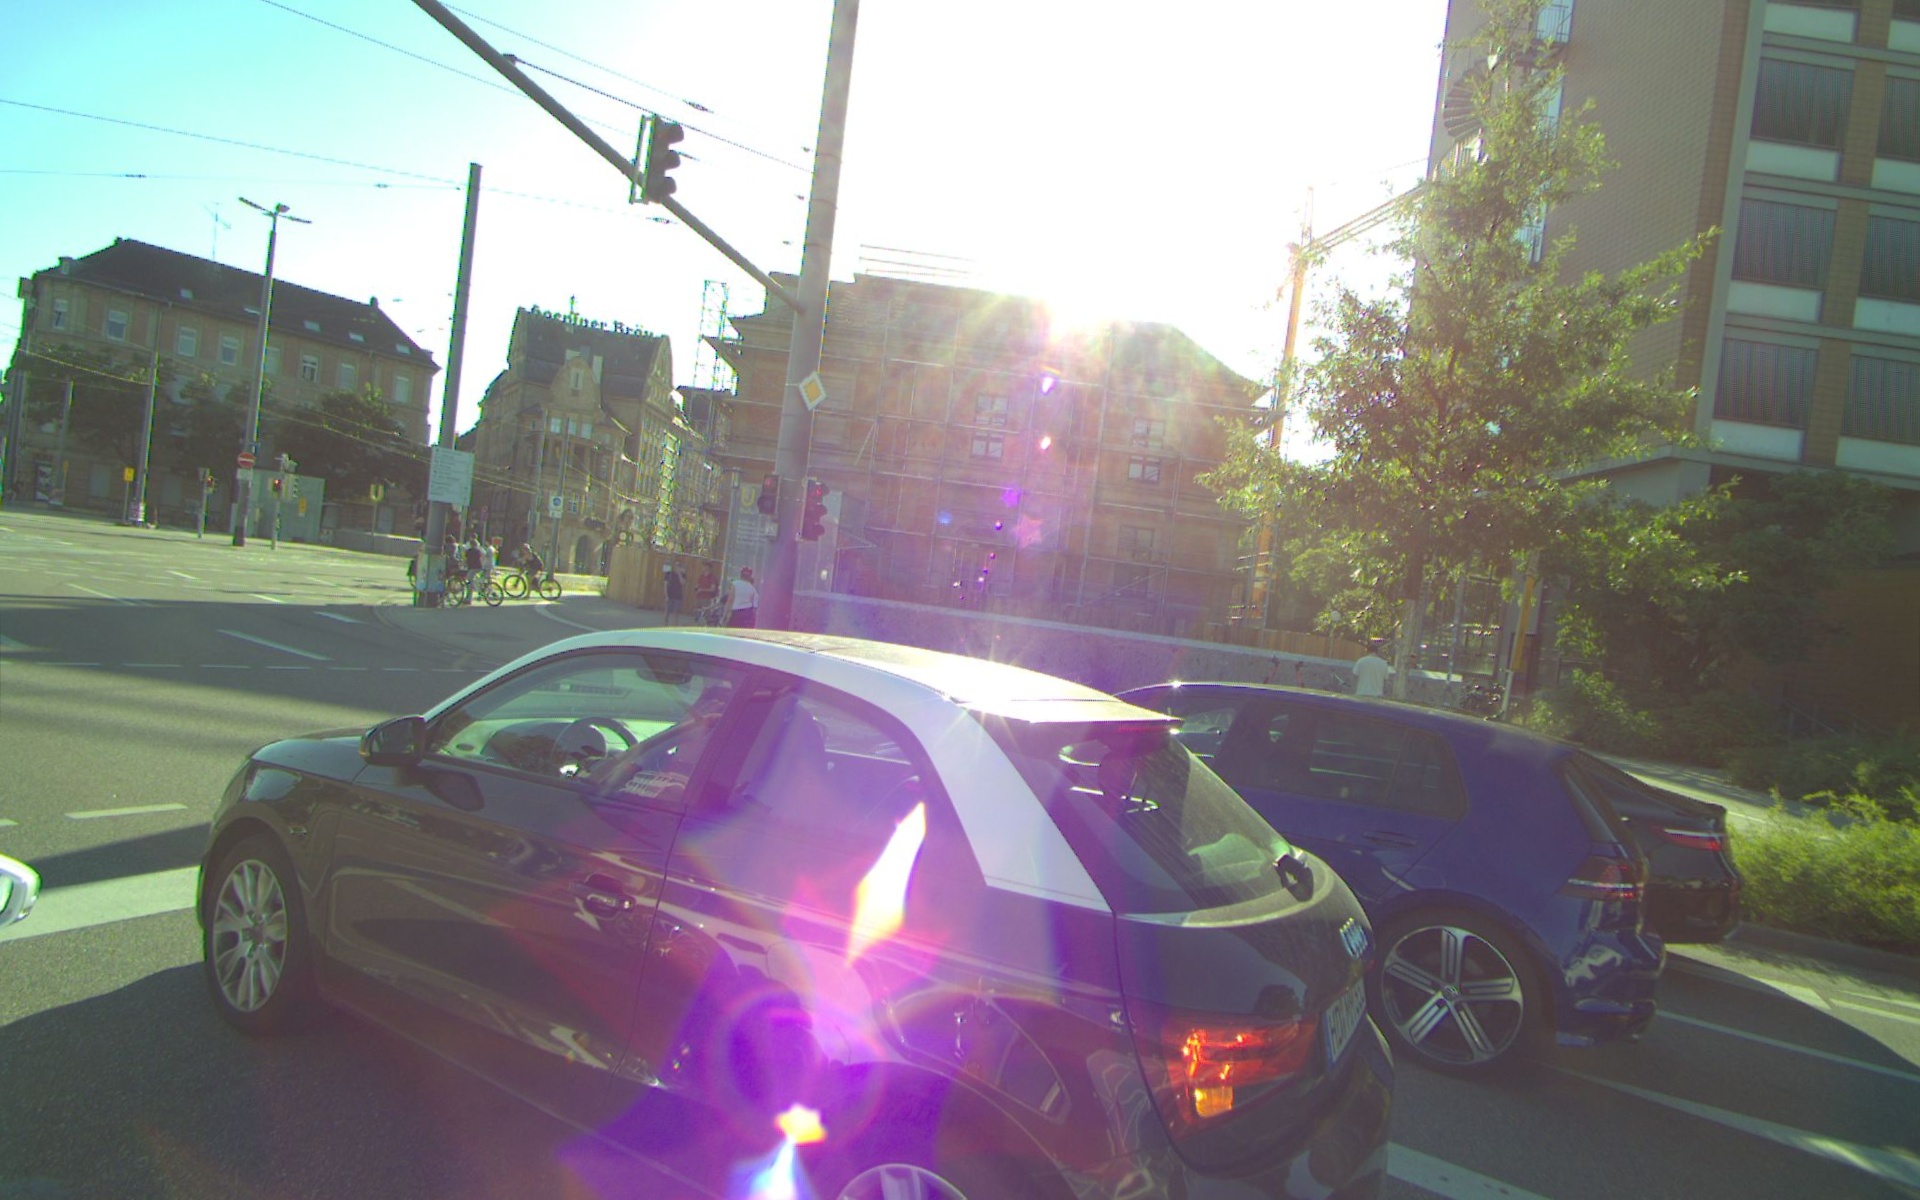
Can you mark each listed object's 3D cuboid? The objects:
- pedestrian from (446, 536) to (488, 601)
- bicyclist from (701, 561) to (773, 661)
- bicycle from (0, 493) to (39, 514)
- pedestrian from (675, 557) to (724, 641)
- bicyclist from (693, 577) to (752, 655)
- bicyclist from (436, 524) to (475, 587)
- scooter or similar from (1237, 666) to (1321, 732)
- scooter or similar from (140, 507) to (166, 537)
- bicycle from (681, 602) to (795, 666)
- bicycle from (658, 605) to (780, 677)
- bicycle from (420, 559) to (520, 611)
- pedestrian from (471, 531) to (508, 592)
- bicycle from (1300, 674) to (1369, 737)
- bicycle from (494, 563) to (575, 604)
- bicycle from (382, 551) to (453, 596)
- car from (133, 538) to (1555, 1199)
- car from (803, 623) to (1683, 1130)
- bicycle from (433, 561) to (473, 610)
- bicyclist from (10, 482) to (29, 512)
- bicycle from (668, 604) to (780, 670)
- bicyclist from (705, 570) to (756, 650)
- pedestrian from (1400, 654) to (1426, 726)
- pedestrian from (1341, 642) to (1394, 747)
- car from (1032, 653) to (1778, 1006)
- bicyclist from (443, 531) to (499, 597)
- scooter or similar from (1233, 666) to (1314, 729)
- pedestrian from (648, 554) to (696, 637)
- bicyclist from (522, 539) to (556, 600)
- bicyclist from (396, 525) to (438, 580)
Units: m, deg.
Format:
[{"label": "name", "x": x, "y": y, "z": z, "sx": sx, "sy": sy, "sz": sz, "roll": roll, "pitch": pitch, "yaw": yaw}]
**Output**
[{"label": "pedestrian", "x": -16.436, "y": -1.053, "z": 33.524, "sx": 0.748, "sy": 2.037, "sz": 0.733, "roll": 7, "pitch": -1, "yaw": 25}, {"label": "bicyclist", "x": -3.807, "y": 0.193, "z": 17.180, "sx": 0.781, "sy": 1.571, "sz": 0.668, "roll": 7, "pitch": -1, "yaw": 27}, {"label": "bicycle", "x": -56.821, "y": -5.800, "z": 60.708, "sx": 1.580, "sy": 0.963, "sz": 0.655, "roll": 8, "pitch": -2, "yaw": -25}, {"label": "pedestrian", "x": -5.992, "y": -0.020, "z": 23.162, "sx": 0.672, "sy": 1.828, "sz": 0.672, "roll": 7, "pitch": -1, "yaw": 11}, {"label": "bicyclist", "x": -4.388, "y": 0.297, "z": 18.609, "sx": 0.662, "sy": 1.330, "sz": 0.617, "roll": 7, "pitch": -1, "yaw": 27}, {"label": "bicyclist", "x": -12.654, "y": -1.095, "z": 25.231, "sx": 0.702, "sy": 1.456, "sz": 0.941, "roll": 8, "pitch": -1, "yaw": -28}, {"label": "scooter or similar", "x": 5.911, "y": 1.829, "z": 18.677, "sx": 1.348, "sy": 1.007, "sz": 0.342, "roll": 7, "pitch": -1, "yaw": 25}, {"label": "scooter or similar", "x": -42.088, "y": -4.073, "z": 52.440, "sx": 0.784, "sy": 1.392, "sz": 1.885, "roll": 8, "pitch": -2, "yaw": -44}, {"label": "bicycle", "x": -4.358, "y": 0.660, "z": 19.789, "sx": 1.997, "sy": 0.976, "sz": 0.660, "roll": 7, "pitch": 2, "yaw": 5}, {"label": "bicycle", "x": -4.160, "y": 0.692, "z": 17.308, "sx": 1.999, "sy": 0.974, "sz": 0.660, "roll": 6, "pitch": -1, "yaw": 27}, {"label": "bicycle", "x": -12.894, "y": -0.391, "z": 26.488, "sx": 2.276, "sy": 1.061, "sz": 0.702, "roll": 7, "pitch": -1, "yaw": 8}, {"label": "pedestrian", "x": -16.022, "y": -1.318, "z": 34.287, "sx": 0.678, "sy": 1.945, "sz": 0.649, "roll": 7, "pitch": -1, "yaw": 25}, {"label": "bicycle", "x": 6.989, "y": 1.962, "z": 18.806, "sx": 0.352, "sy": 1.015, "sz": 1.149, "roll": 8, "pitch": -2, "yaw": -29}, {"label": "bicycle", "x": -13.388, "y": -0.513, "z": 31.702, "sx": 2.289, "sy": 1.063, "sz": 0.532, "roll": 5, "pitch": 2, "yaw": -25}, {"label": "bicycle", "x": -16.813, "y": -0.824, "z": 31.189, "sx": 2.278, "sy": 1.061, "sz": 0.536, "roll": 8, "pitch": -1, "yaw": 24}, {"label": "car", "x": -0.582, "y": 0.761, "z": 3.004, "sx": 3.934, "sy": 1.420, "sz": 1.627, "roll": 6, "pitch": -2, "yaw": 32}, {"label": "car", "x": 1.273, "y": 1.099, "z": 5.353, "sx": 3.934, "sy": 1.420, "sz": 1.627, "roll": 6, "pitch": -2, "yaw": 32}, {"label": "bicycle", "x": -12.702, "y": -0.384, "z": 25.153, "sx": 0.693, "sy": 1.061, "sz": 2.303, "roll": 9, "pitch": -1, "yaw": -29}, {"label": "bicyclist", "x": -56.773, "y": -6.212, "z": 60.716, "sx": 0.509, "sy": 1.720, "sz": 0.517, "roll": 7, "pitch": -1, "yaw": -25}, {"label": "bicycle", "x": -4.373, "y": 0.676, "z": 18.585, "sx": 1.999, "sy": 0.976, "sz": 0.659, "roll": 6, "pitch": 2, "yaw": 27}, {"label": "bicyclist", "x": -4.515, "y": 0.212, "z": 19.800, "sx": 0.661, "sy": 1.471, "sz": 0.618, "roll": 7, "pitch": -1, "yaw": 3}, {"label": "pedestrian", "x": 11.338, "y": 2.247, "z": 25.185, "sx": 0.369, "sy": 1.752, "sz": 0.444, "roll": 7, "pitch": -1, "yaw": 17}, {"label": "pedestrian", "x": 6.863, "y": 1.569, "z": 16.936, "sx": 0.592, "sy": 1.662, "sz": 0.677, "roll": 7, "pitch": 3, "yaw": 29}, {"label": "car", "x": 2.965, "y": 1.405, "z": 7.421, "sx": 4.436, "sy": 1.420, "sz": 1.727, "roll": 6, "pitch": -2, "yaw": 31}, {"label": "bicyclist", "x": -12.869, "y": -0.933, "z": 26.483, "sx": 0.929, "sy": 1.575, "sz": 0.711, "roll": 7, "pitch": -1, "yaw": 8}, {"label": "scooter or similar", "x": 6.030, "y": 1.868, "z": 19.391, "sx": 1.346, "sy": 1.007, "sz": 0.343, "roll": 7, "pitch": -1, "yaw": 13}, {"label": "pedestrian", "x": -6.667, "y": -0.103, "z": 23.318, "sx": 0.672, "sy": 1.830, "sz": 0.672, "roll": 7, "pitch": 2, "yaw": 11}, {"label": "bicyclist", "x": -13.279, "y": -0.957, "z": 31.714, "sx": 0.785, "sy": 1.800, "sz": 0.520, "roll": 8, "pitch": -1, "yaw": -23}, {"label": "bicyclist", "x": -16.864, "y": -1.470, "z": 31.256, "sx": 0.930, "sy": 1.575, "sz": 0.516, "roll": 7, "pitch": -1, "yaw": 23}]
